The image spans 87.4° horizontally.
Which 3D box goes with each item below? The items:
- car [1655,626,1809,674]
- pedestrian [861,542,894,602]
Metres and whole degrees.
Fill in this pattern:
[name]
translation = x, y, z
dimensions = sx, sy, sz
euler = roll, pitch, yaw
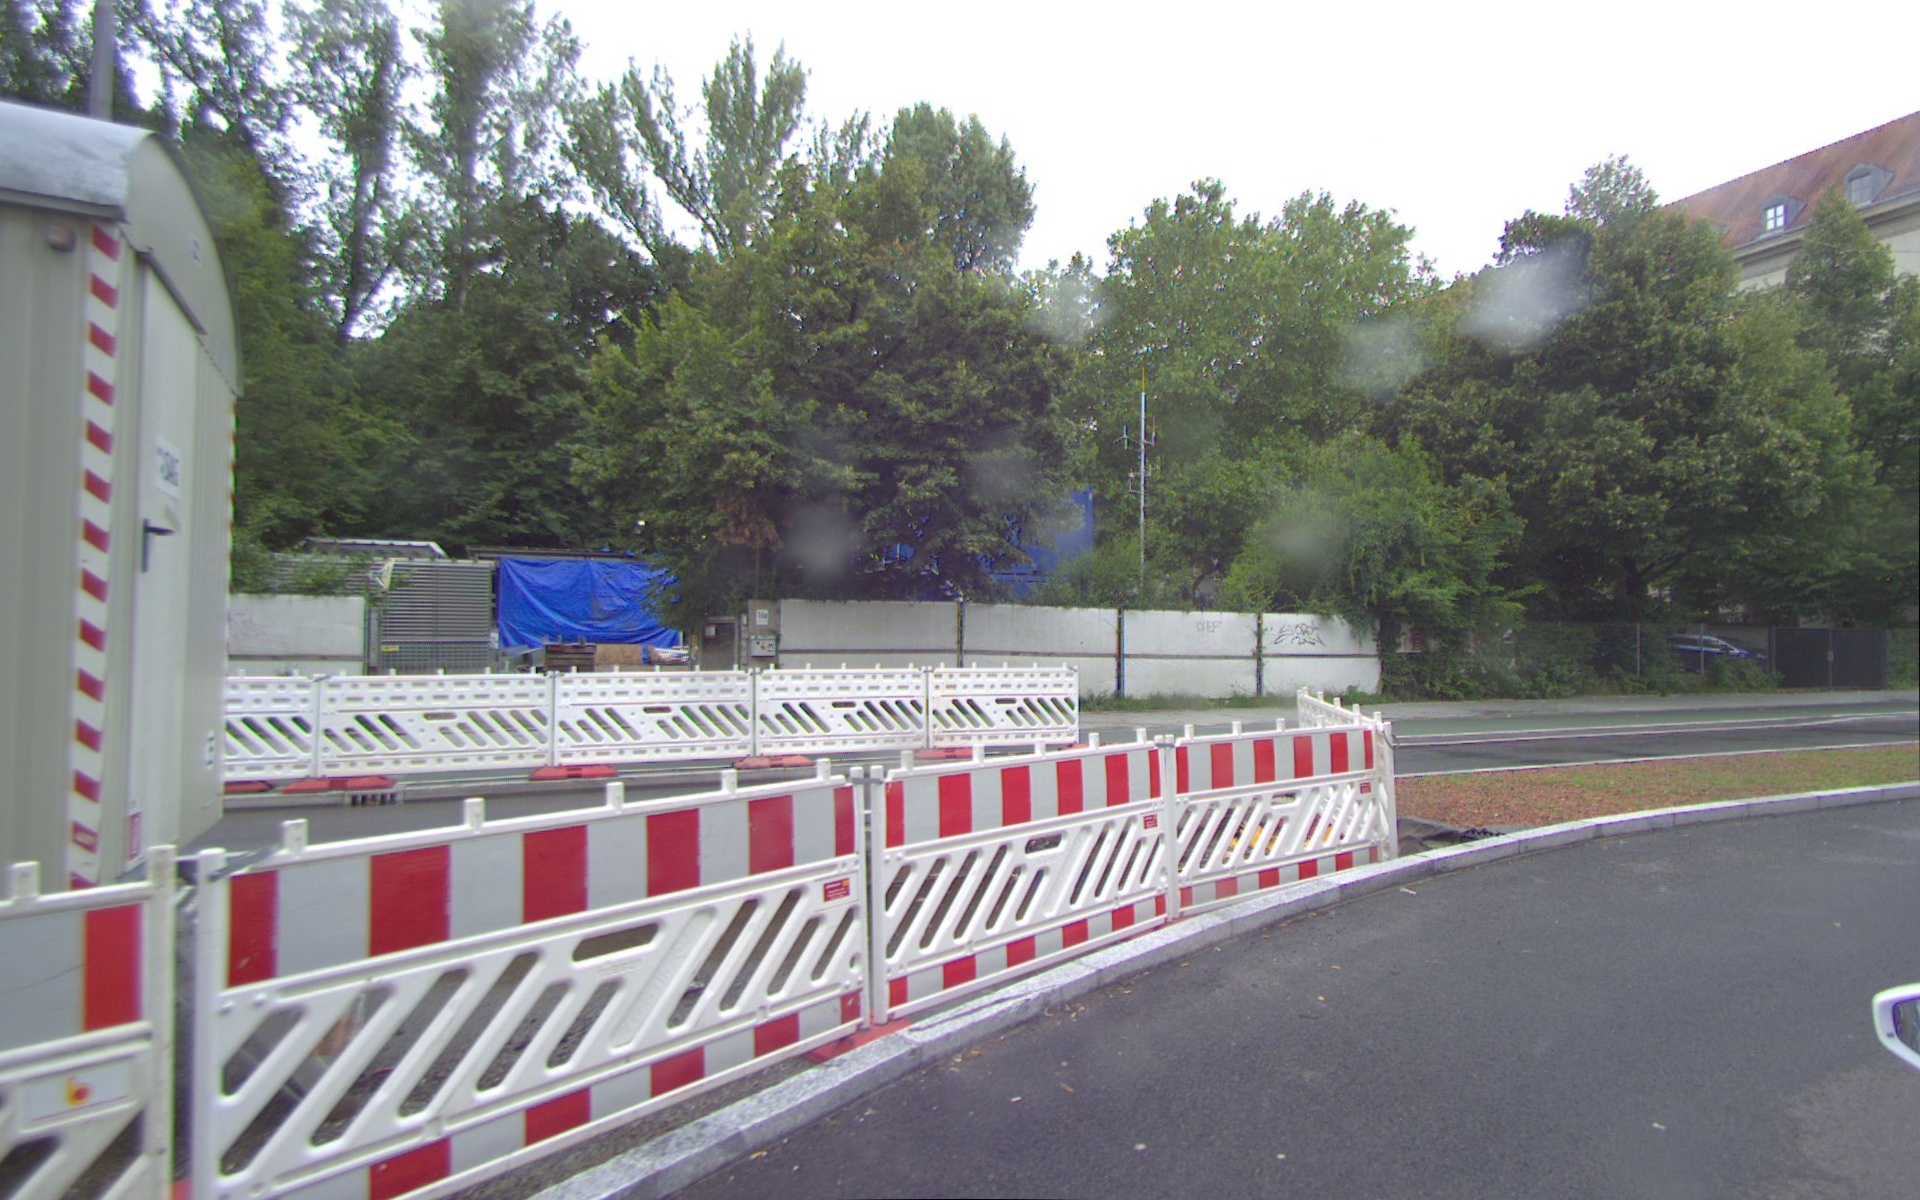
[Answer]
[car]
translation = 28.855, 1.847, 37.704
dimensions = 1.779, 1.671, 4.253
euler = 1, -2, -23
[pedestrian]
translation = -2.592, -0.868, 31.454
dimensions = 0.786, 1.798, 0.828
euler = 1, -2, -26
